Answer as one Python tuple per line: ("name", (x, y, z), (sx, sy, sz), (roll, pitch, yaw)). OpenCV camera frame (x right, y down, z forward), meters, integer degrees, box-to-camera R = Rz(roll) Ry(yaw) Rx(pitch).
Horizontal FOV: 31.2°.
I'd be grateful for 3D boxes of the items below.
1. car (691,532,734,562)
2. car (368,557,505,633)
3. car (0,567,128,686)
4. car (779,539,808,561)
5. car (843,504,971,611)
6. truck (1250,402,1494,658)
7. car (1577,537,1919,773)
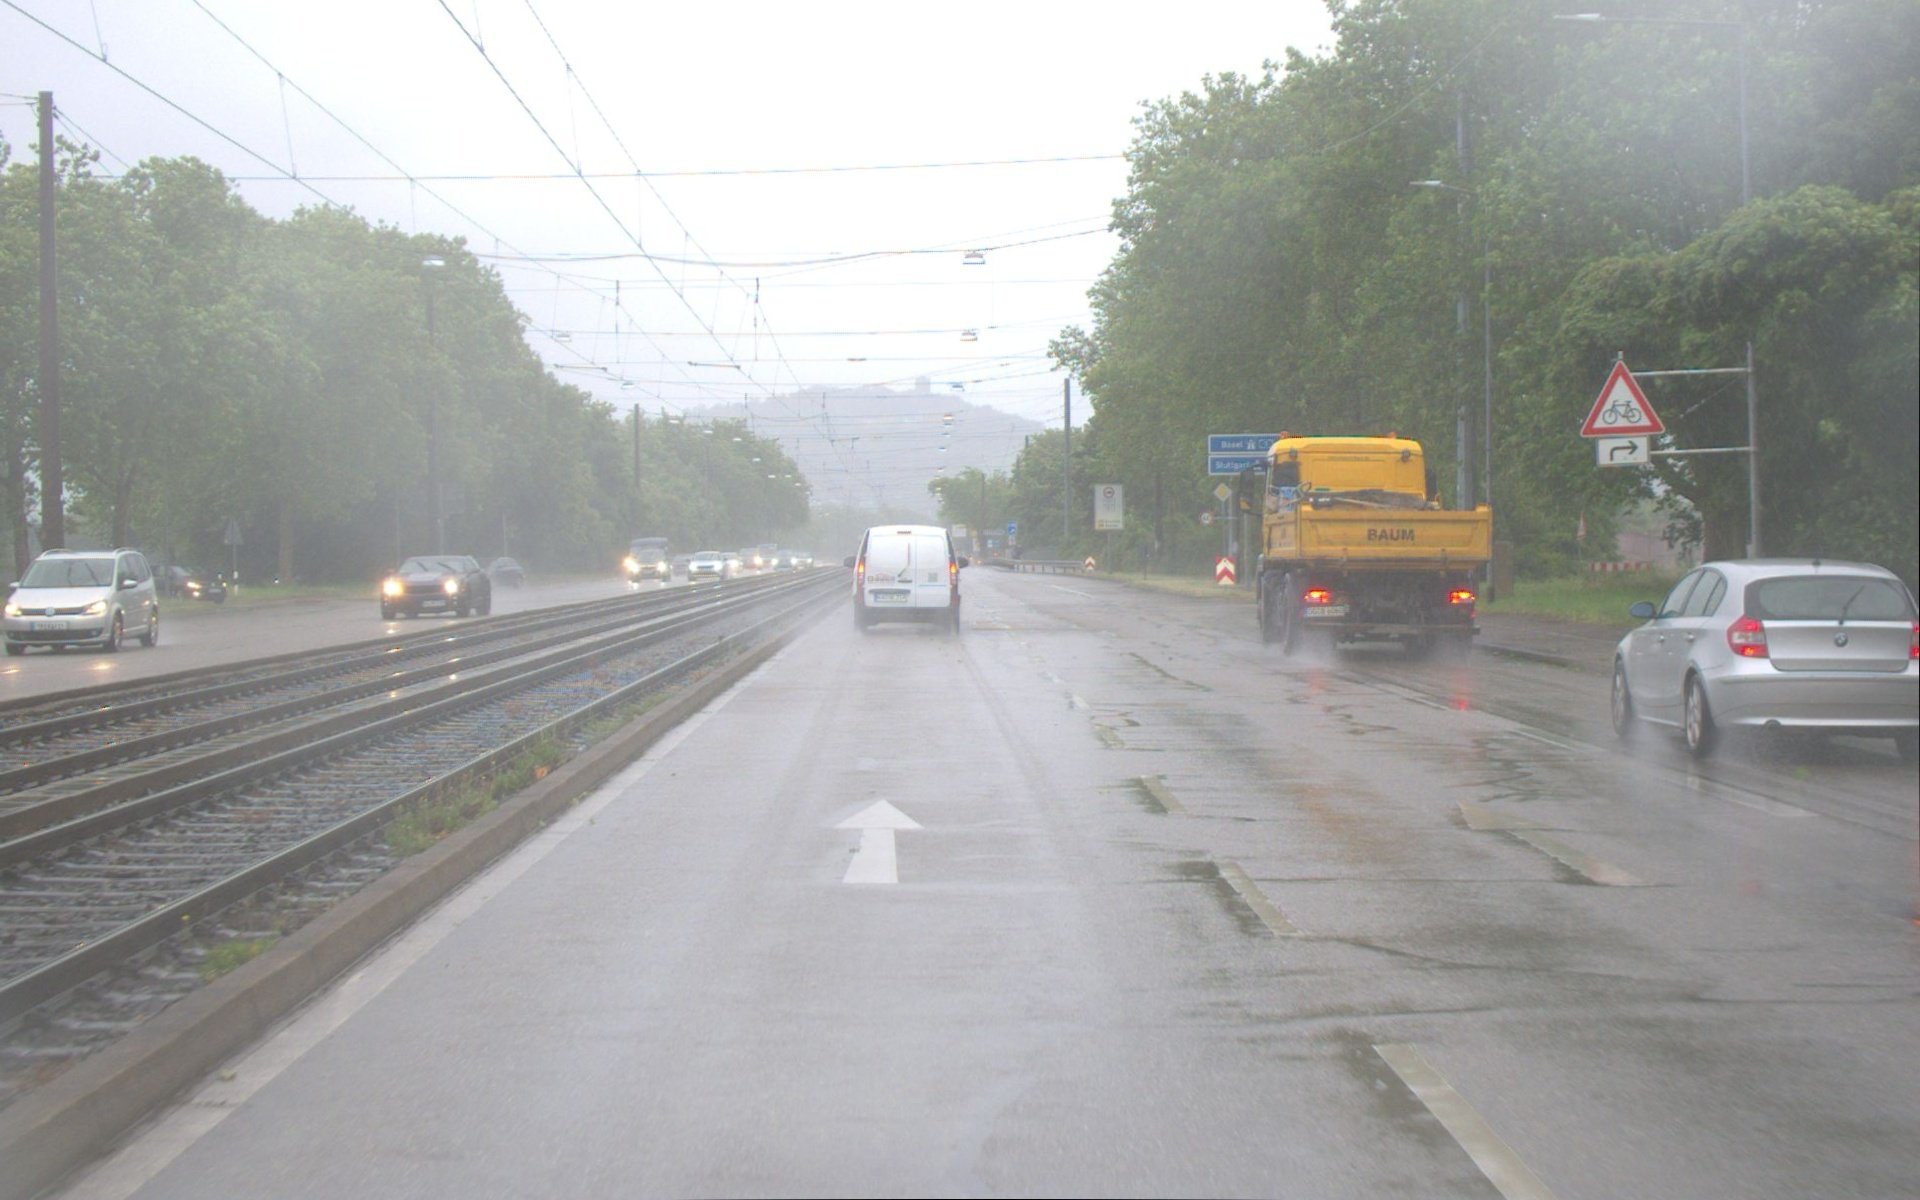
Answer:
("car", (-12.122, -2.597, 168.563), (1.741, 1.349, 4.546), (1, 2, 0))
("car", (-11.668, -0.145, 76.937), (1.994, 1.459, 5.251), (-2, 2, 2))
("car", (-14.120, 0.365, 52.107), (1.842, 1.568, 5.067), (1, 2, -1))
("car", (-12.540, -3.749, 258.880), (1.790, 1.544, 5.313), (1, 2, 1))
("car", (-0.851, -0.744, 57.369), (1.989, 1.678, 3.740), (1, 2, 1))
("truck", (5.579, -1.010, 47.593), (2.556, 3.246, 6.933), (1, 2, 1))
("car", (5.866, 0.331, 25.349), (1.626, 1.498, 4.607), (1, 2, -2))
